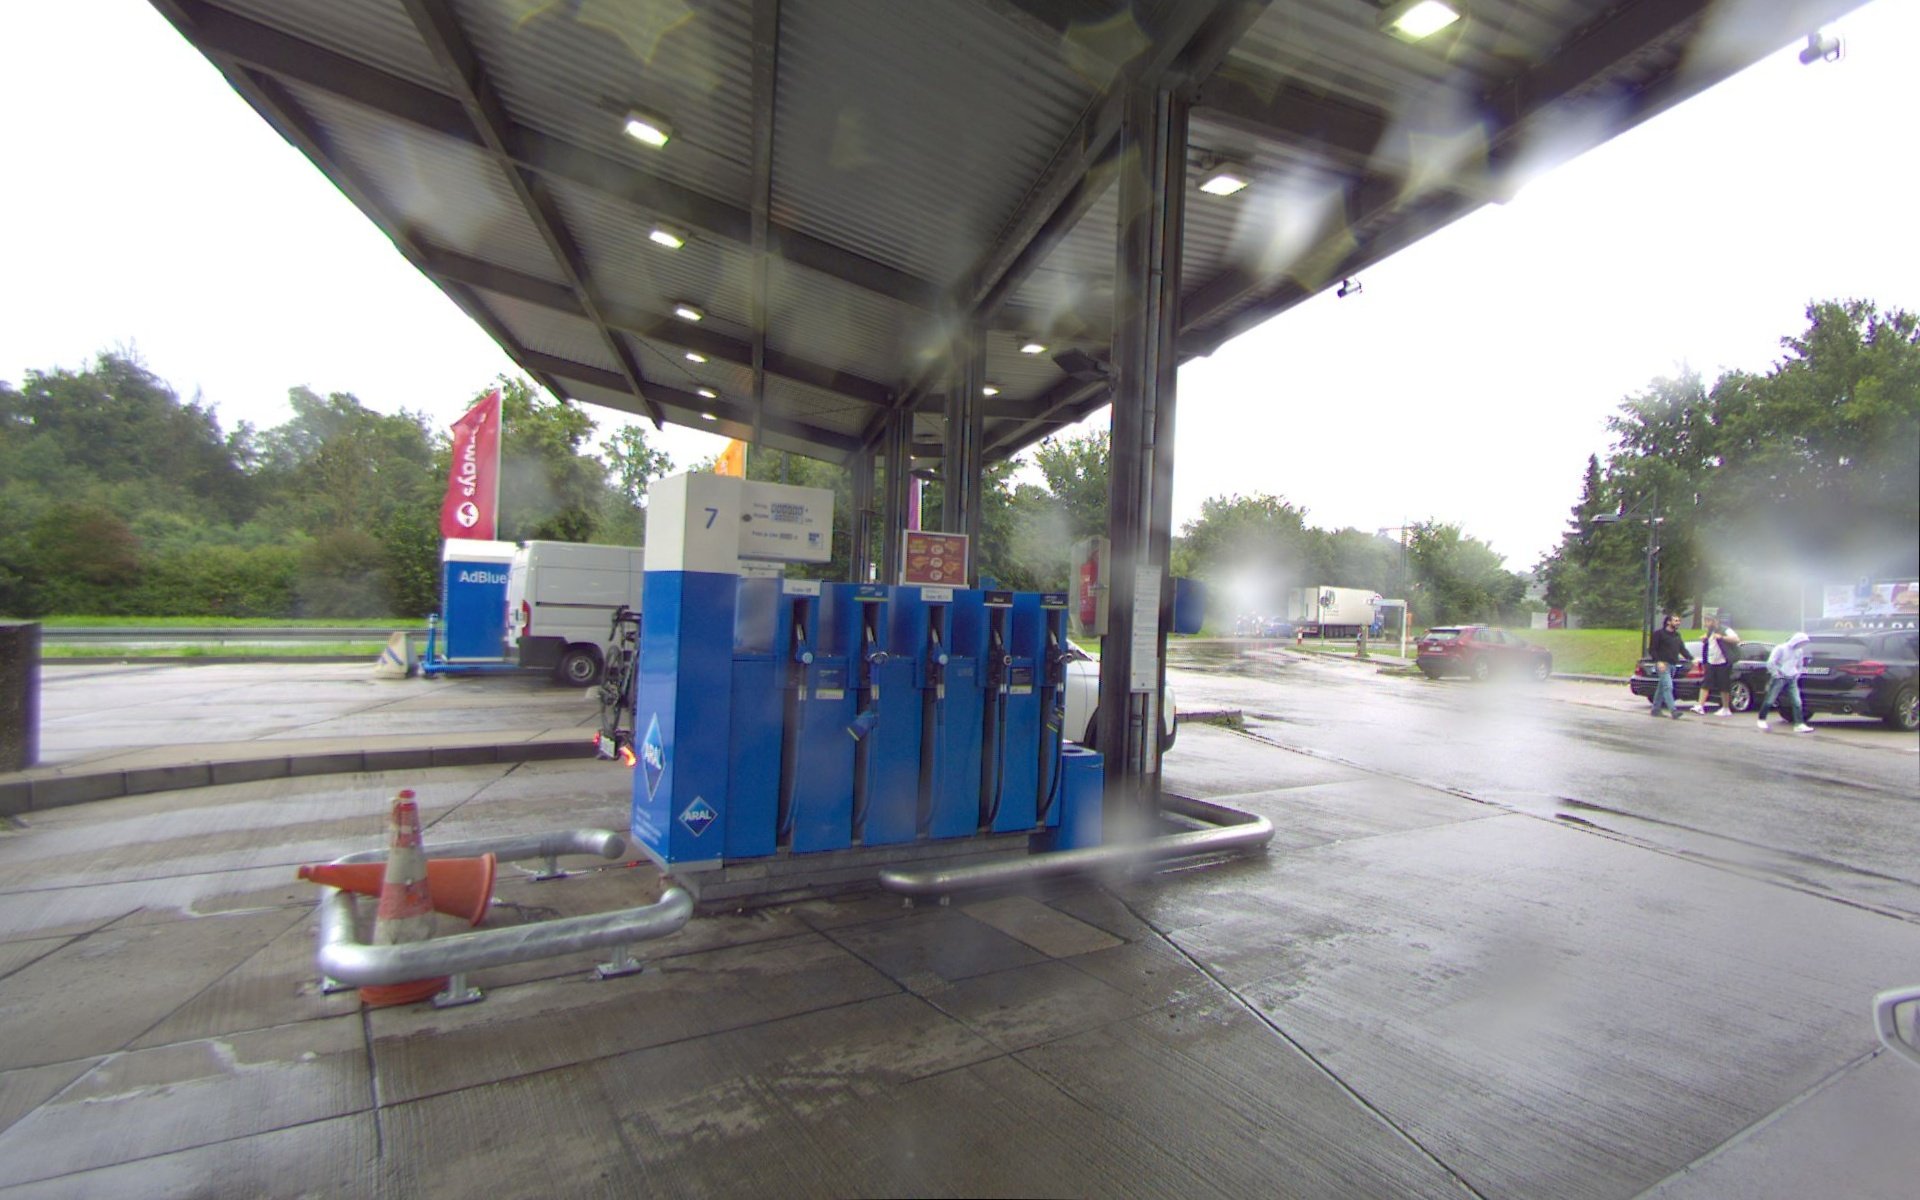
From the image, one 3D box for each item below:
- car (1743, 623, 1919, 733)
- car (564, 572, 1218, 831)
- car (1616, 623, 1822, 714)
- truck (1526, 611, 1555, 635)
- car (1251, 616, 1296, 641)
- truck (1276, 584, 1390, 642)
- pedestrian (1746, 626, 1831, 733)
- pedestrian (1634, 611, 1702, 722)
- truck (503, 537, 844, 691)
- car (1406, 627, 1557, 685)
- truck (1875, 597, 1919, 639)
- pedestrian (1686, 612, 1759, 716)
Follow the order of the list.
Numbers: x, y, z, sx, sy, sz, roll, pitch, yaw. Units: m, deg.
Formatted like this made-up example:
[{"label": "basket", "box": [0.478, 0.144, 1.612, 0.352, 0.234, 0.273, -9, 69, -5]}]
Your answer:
[{"label": "car", "box": [16.189, 1.275, 17.465, 4.274, 1.734, 2.016, 1, -1, -18]}, {"label": "car", "box": [-0.409, 0.705, 8.457, 5.210, 1.629, 1.852, 2, 0, -30]}, {"label": "car", "box": [15.958, 1.362, 21.088, 4.293, 1.734, 2.007, 1, -2, -31]}, {"label": "truck", "box": [79.164, 3.185, 136.925, 2.446, 3.126, 7.328, 2, 0, 37]}, {"label": "car", "box": [22.922, 2.073, 73.434, 1.787, 1.704, 3.934, 2, 0, 40]}, {"label": "truck", "box": [31.898, 1.198, 85.148, 3.498, 4.397, 16.922, 2, 0, 40]}, {"label": "pedestrian", "box": [13.525, 1.278, 16.425, 0.690, 1.653, 0.954, 2, 0, 13]}, {"label": "pedestrian", "box": [12.686, 1.157, 18.022, 0.690, 1.912, 0.894, 2, 0, 16]}, {"label": "truck", "box": [-5.321, 0.299, 18.938, 5.793, 2.527, 2.221, 2, 0, -30]}, {"label": "car", "box": [16.093, 1.676, 30.999, 4.283, 1.666, 1.933, 1, -2, -25]}, {"label": "truck", "box": [68.873, 1.331, 71.696, 5.285, 2.959, 2.191, 2, 0, -5]}, {"label": "pedestrian", "box": [14.395, 1.192, 18.969, 0.941, 1.912, 0.700, 2, 0, -24]}]
